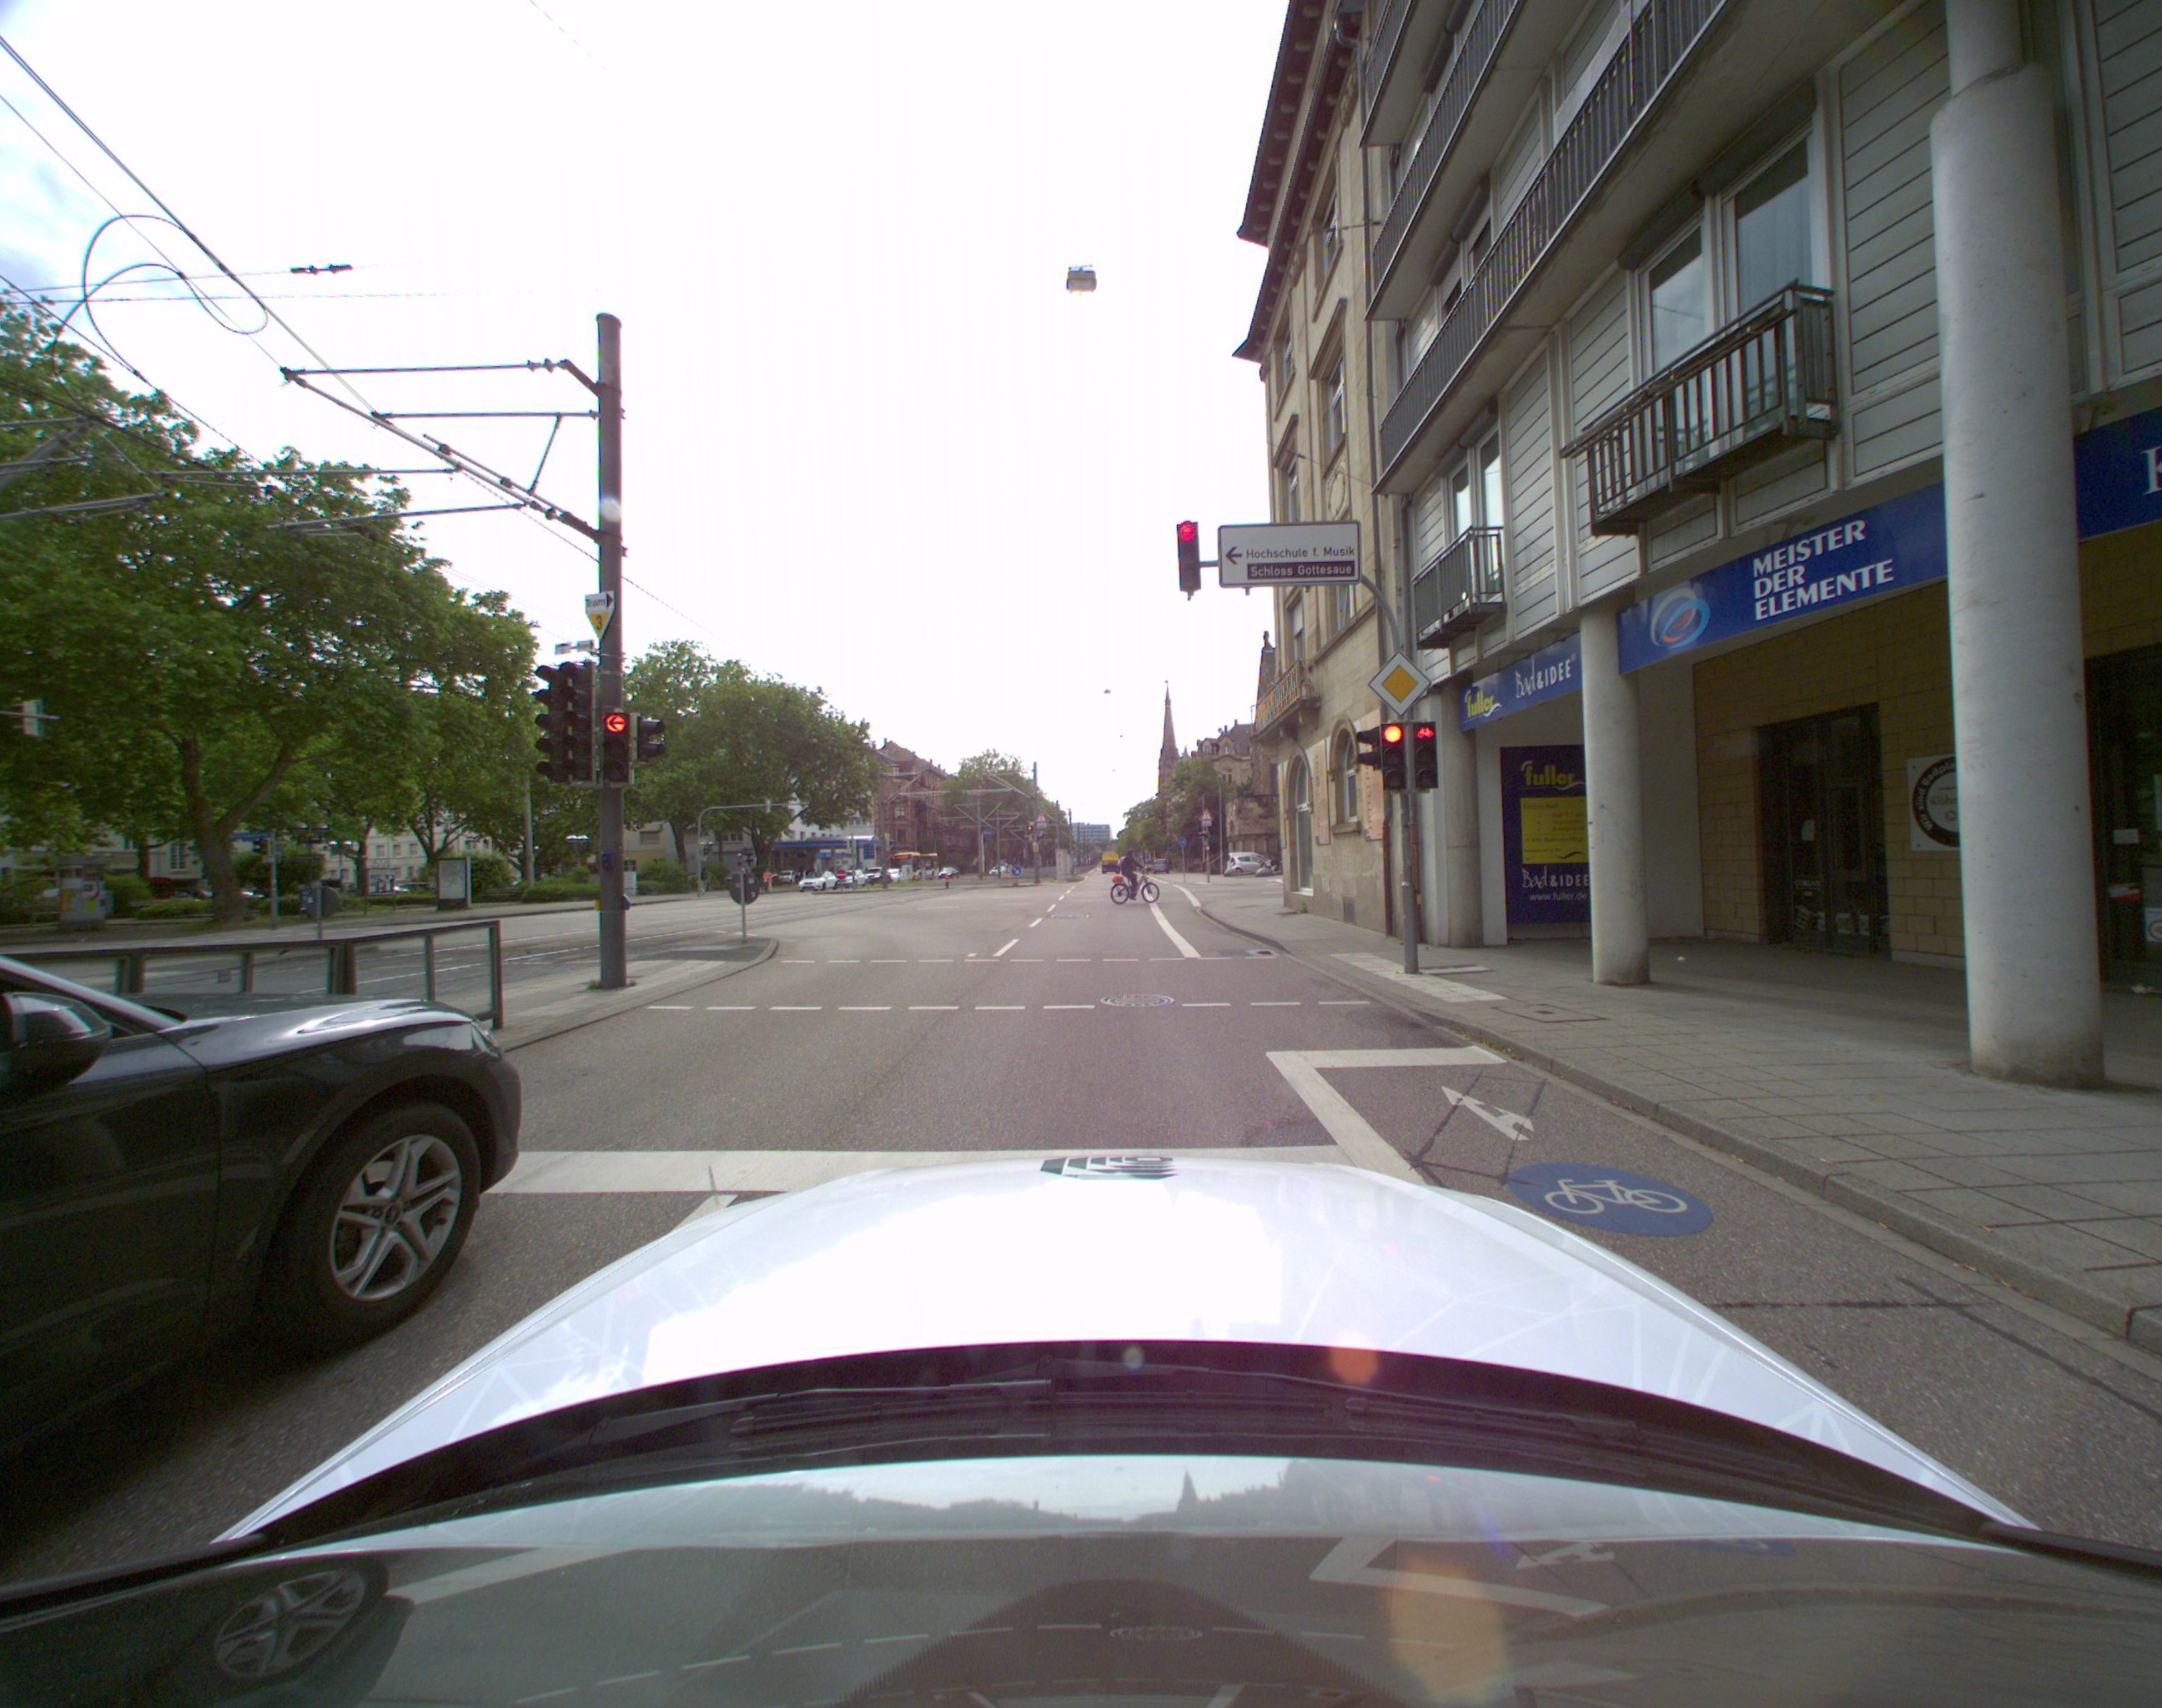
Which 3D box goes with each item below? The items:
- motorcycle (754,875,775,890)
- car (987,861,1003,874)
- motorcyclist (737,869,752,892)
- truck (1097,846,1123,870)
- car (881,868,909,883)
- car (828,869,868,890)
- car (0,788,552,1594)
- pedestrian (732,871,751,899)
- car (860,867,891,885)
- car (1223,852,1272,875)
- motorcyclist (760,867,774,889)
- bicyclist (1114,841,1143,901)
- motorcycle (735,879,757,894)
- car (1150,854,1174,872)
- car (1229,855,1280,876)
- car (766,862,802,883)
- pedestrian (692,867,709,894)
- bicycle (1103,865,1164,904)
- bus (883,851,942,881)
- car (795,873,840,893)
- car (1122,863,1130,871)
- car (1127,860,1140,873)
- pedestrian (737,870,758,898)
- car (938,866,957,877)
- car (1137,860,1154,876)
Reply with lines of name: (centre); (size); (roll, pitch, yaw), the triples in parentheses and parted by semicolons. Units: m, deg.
motorcycle: (-21.647, 1.960, 55.691); (0.604, 0.928, 1.953); (-2, -1, 2)
car: (-13.729, 2.205, 130.491); (1.986, 2.014, 4.001); (0, -1, 2)
motorcyclist: (-22.690, 1.811, 54.966); (0.617, 1.520, 0.874); (-2, -1, 2)
truck: (3.717, 0.519, 104.863); (3.044, 2.769, 9.819); (-2, 0, 2)
car: (-18.158, 2.102, 79.616); (1.649, 1.321, 3.641); (0, -1, 3)
car: (-18.846, 2.058, 66.052); (1.986, 1.594, 4.001); (0, -1, 2)
car: (-3.079, 0.686, 1.203); (1.727, 1.637, 4.228); (0, -1, 2)
pedestrian: (-21.389, 1.937, 51.347); (0.863, 1.713, 0.692); (-2, -1, 5)
car: (-18.331, 1.931, 72.695); (1.649, 1.478, 3.641); (0, -1, 3)
car: (13.925, 0.788, 68.209); (3.699, 1.855, 2.001); (0, -1, 2)
motorcyclist: (-21.607, 1.656, 56.026); (0.617, 1.520, 0.874); (-2, -1, 2)
bicyclist: (1.629, 0.558, 27.810); (0.696, 2.014, 0.776); (0, -1, -27)
motorcycle: (-22.675, 2.181, 55.135); (0.604, 0.928, 1.953); (-2, -1, 2)
car: (8.974, 0.986, 89.924); (1.979, 1.855, 4.042); (-1, -1, 14)
car: (13.749, 0.905, 64.786); (3.699, 1.563, 2.001); (0, -1, 2)
car: (-29.756, 1.797, 81.792); (1.986, 2.014, 4.001); (-2, 0, 2)
pedestrian: (-24.560, 1.710, 52.540); (0.680, 1.690, 0.743); (0, -1, 6)
bicycle: (1.810, 1.023, 27.889); (2.002, 1.272, 0.744); (0, -1, -28)
bus: (-18.299, 1.300, 89.693); (3.217, 3.035, 12.323); (0, 0, 4)
car: (-19.168, 2.079, 59.519); (1.739, 1.321, 4.079); (0, 0, 4)
car: (11.929, 3.367, 216.759); (1.986, 2.014, 4.001); (0, -1, 2)
car: (8.695, 2.051, 135.951); (1.986, 2.014, 4.001); (0, -1, 2)
pedestrian: (-21.296, 1.912, 52.060); (0.866, 1.713, 0.877); (-2, -1, 7)
car: (-17.243, 2.216, 105.184); (1.649, 1.321, 3.641); (0, -1, 3)
car: (7.896, 1.696, 99.614); (1.985, 2.014, 4.004); (0, -1, 4)
